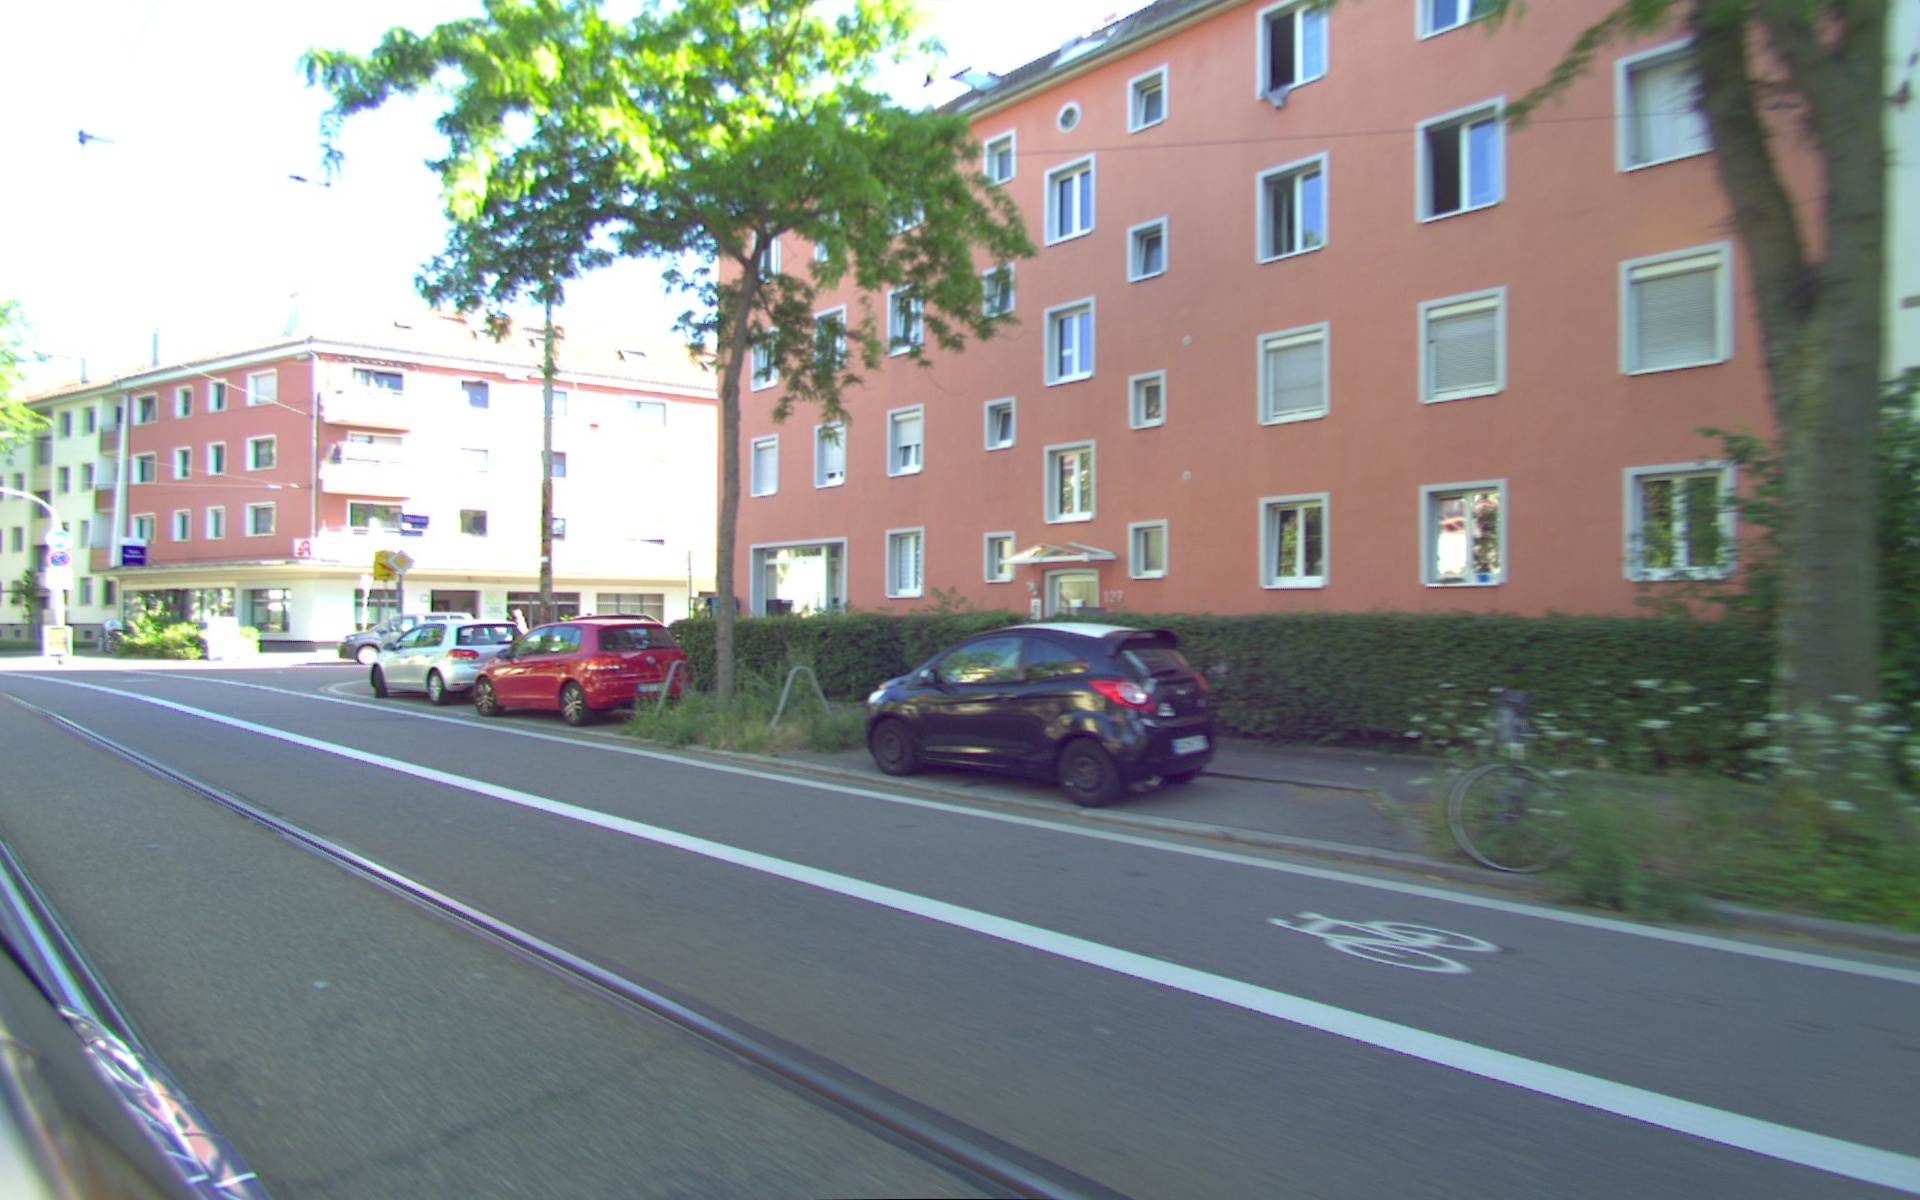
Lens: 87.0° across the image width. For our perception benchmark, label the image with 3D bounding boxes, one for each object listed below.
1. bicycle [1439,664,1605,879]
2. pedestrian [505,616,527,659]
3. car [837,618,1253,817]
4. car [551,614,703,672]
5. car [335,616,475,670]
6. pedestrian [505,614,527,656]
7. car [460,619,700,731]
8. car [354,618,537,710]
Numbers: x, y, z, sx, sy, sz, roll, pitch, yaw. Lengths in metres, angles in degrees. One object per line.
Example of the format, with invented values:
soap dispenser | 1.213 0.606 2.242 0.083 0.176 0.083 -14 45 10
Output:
bicycle | 3.686 1.022 6.564 0.543 1.129 1.793 -1 -1 42
pedestrian | -18.532 1.549 42.238 0.791 1.779 0.510 1 -2 -29
car | 0.652 0.914 9.382 3.667 1.465 1.537 -1 -1 42
car | -10.795 1.382 32.870 4.414 1.793 1.794 1 -2 -28
car | -19.472 1.493 35.557 4.216 1.793 1.794 2 -2 -32
pedestrian | -19.082 1.521 43.484 0.791 1.779 0.510 1 -2 -29
car | -5.809 1.030 15.247 4.092 1.465 1.558 -1 -1 39
car | -9.587 1.105 18.721 4.093 1.517 1.557 -1 -1 40
